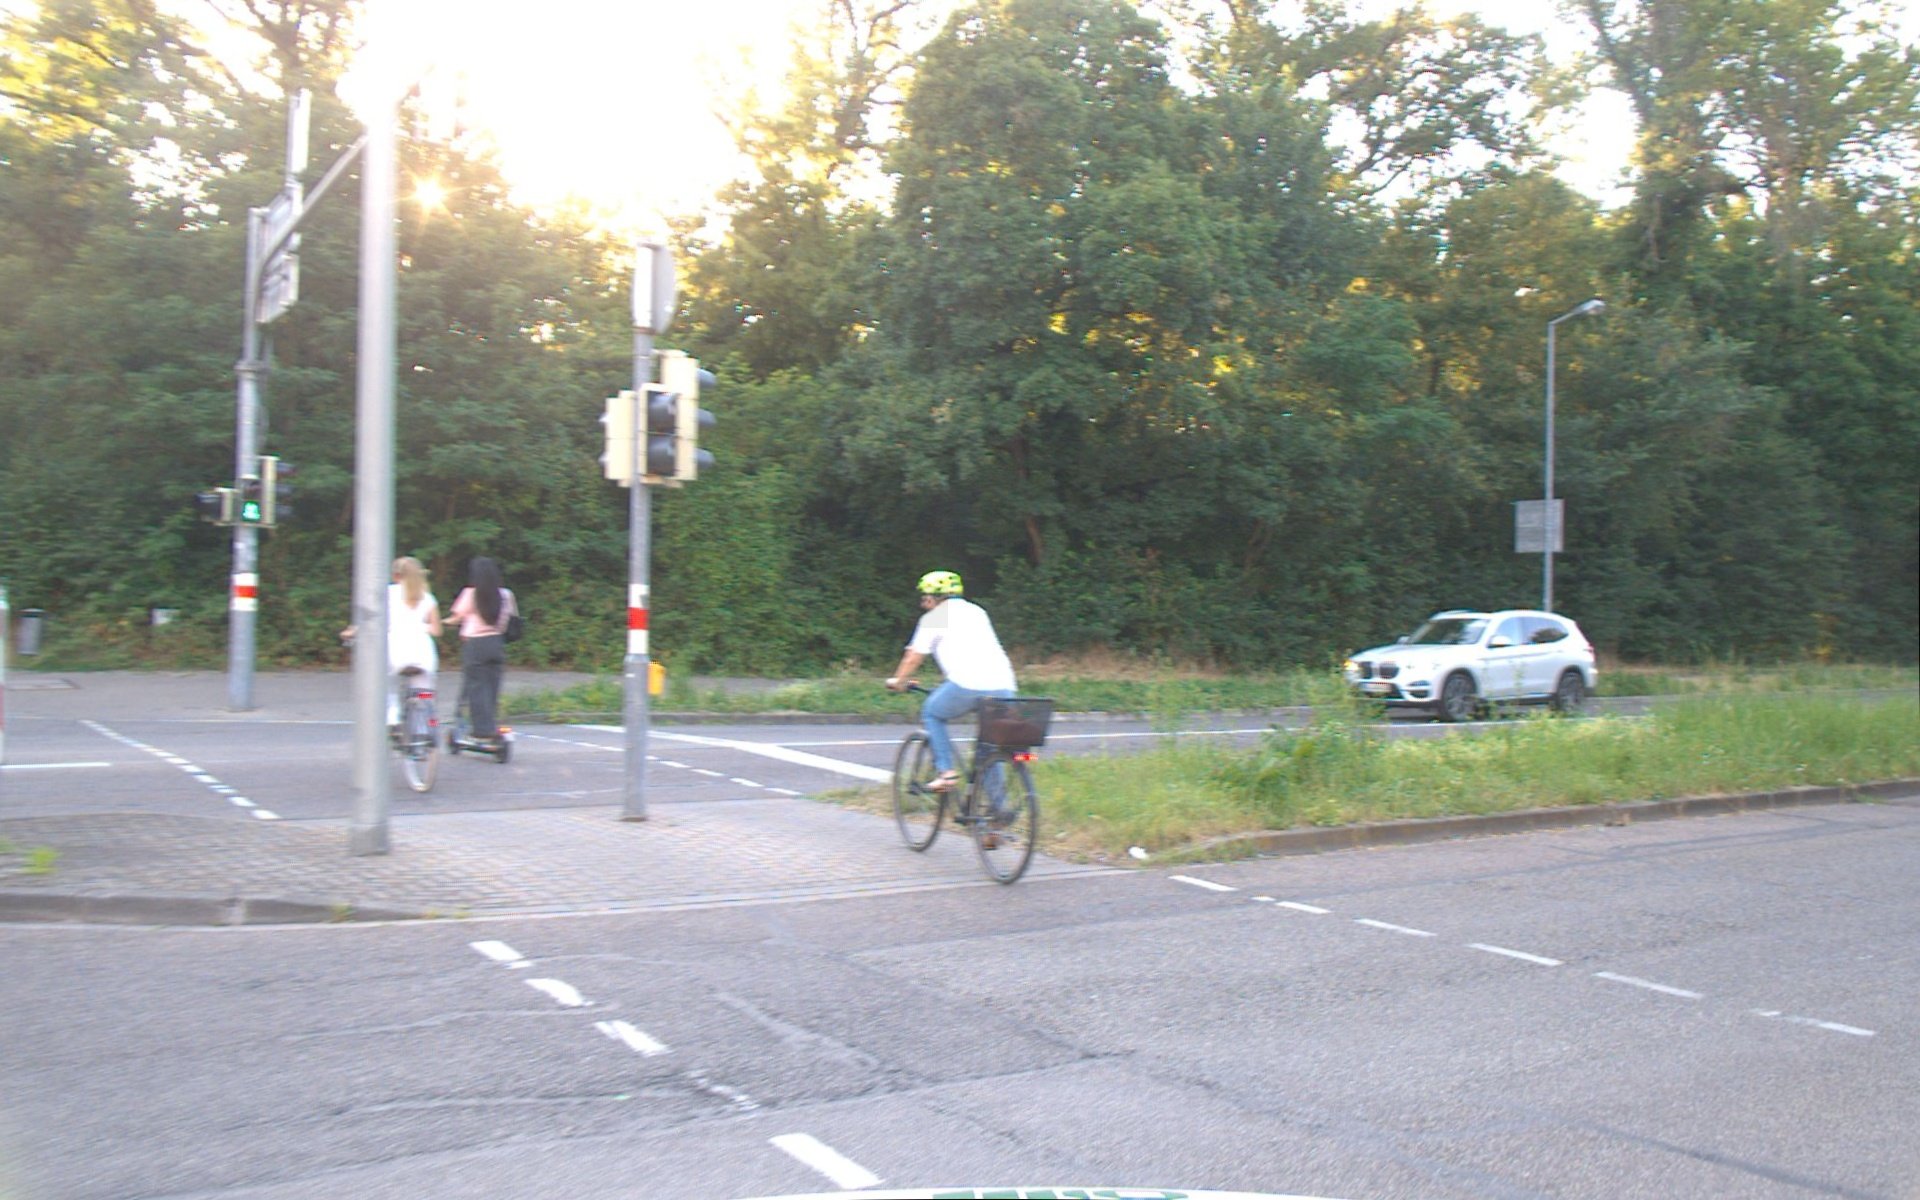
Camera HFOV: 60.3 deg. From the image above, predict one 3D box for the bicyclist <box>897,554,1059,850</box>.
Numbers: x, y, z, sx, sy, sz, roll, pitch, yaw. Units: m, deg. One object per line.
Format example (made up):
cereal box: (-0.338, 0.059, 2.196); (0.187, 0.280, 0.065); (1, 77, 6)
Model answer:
bicyclist: (0.090, 0.549, 9.444); (0.548, 1.597, 0.890); (1, 0, -29)

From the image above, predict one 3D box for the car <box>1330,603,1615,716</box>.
car: (8.138, 0.939, 26.111); (4.583, 1.642, 1.806); (1, -3, -33)

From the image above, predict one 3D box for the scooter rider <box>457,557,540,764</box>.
scooter rider: (-4.108, 0.526, 14.715); (0.560, 1.797, 0.499); (1, -1, -35)

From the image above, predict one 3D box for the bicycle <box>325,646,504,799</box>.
bicycle: (-4.268, 0.907, 12.840); (0.764, 1.024, 1.991); (2, -1, -35)

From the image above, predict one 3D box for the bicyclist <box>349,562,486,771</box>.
bicyclist: (-4.189, 0.495, 12.751); (0.753, 1.544, 0.846); (2, -1, -35)

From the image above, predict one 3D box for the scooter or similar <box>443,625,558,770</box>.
scooter or similar: (-4.099, 0.834, 14.693); (0.557, 1.210, 1.405); (2, -1, -34)

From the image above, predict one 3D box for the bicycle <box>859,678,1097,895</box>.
bicycle: (0.056, 1.010, 9.492); (0.557, 1.032, 1.785); (1, 0, -29)
